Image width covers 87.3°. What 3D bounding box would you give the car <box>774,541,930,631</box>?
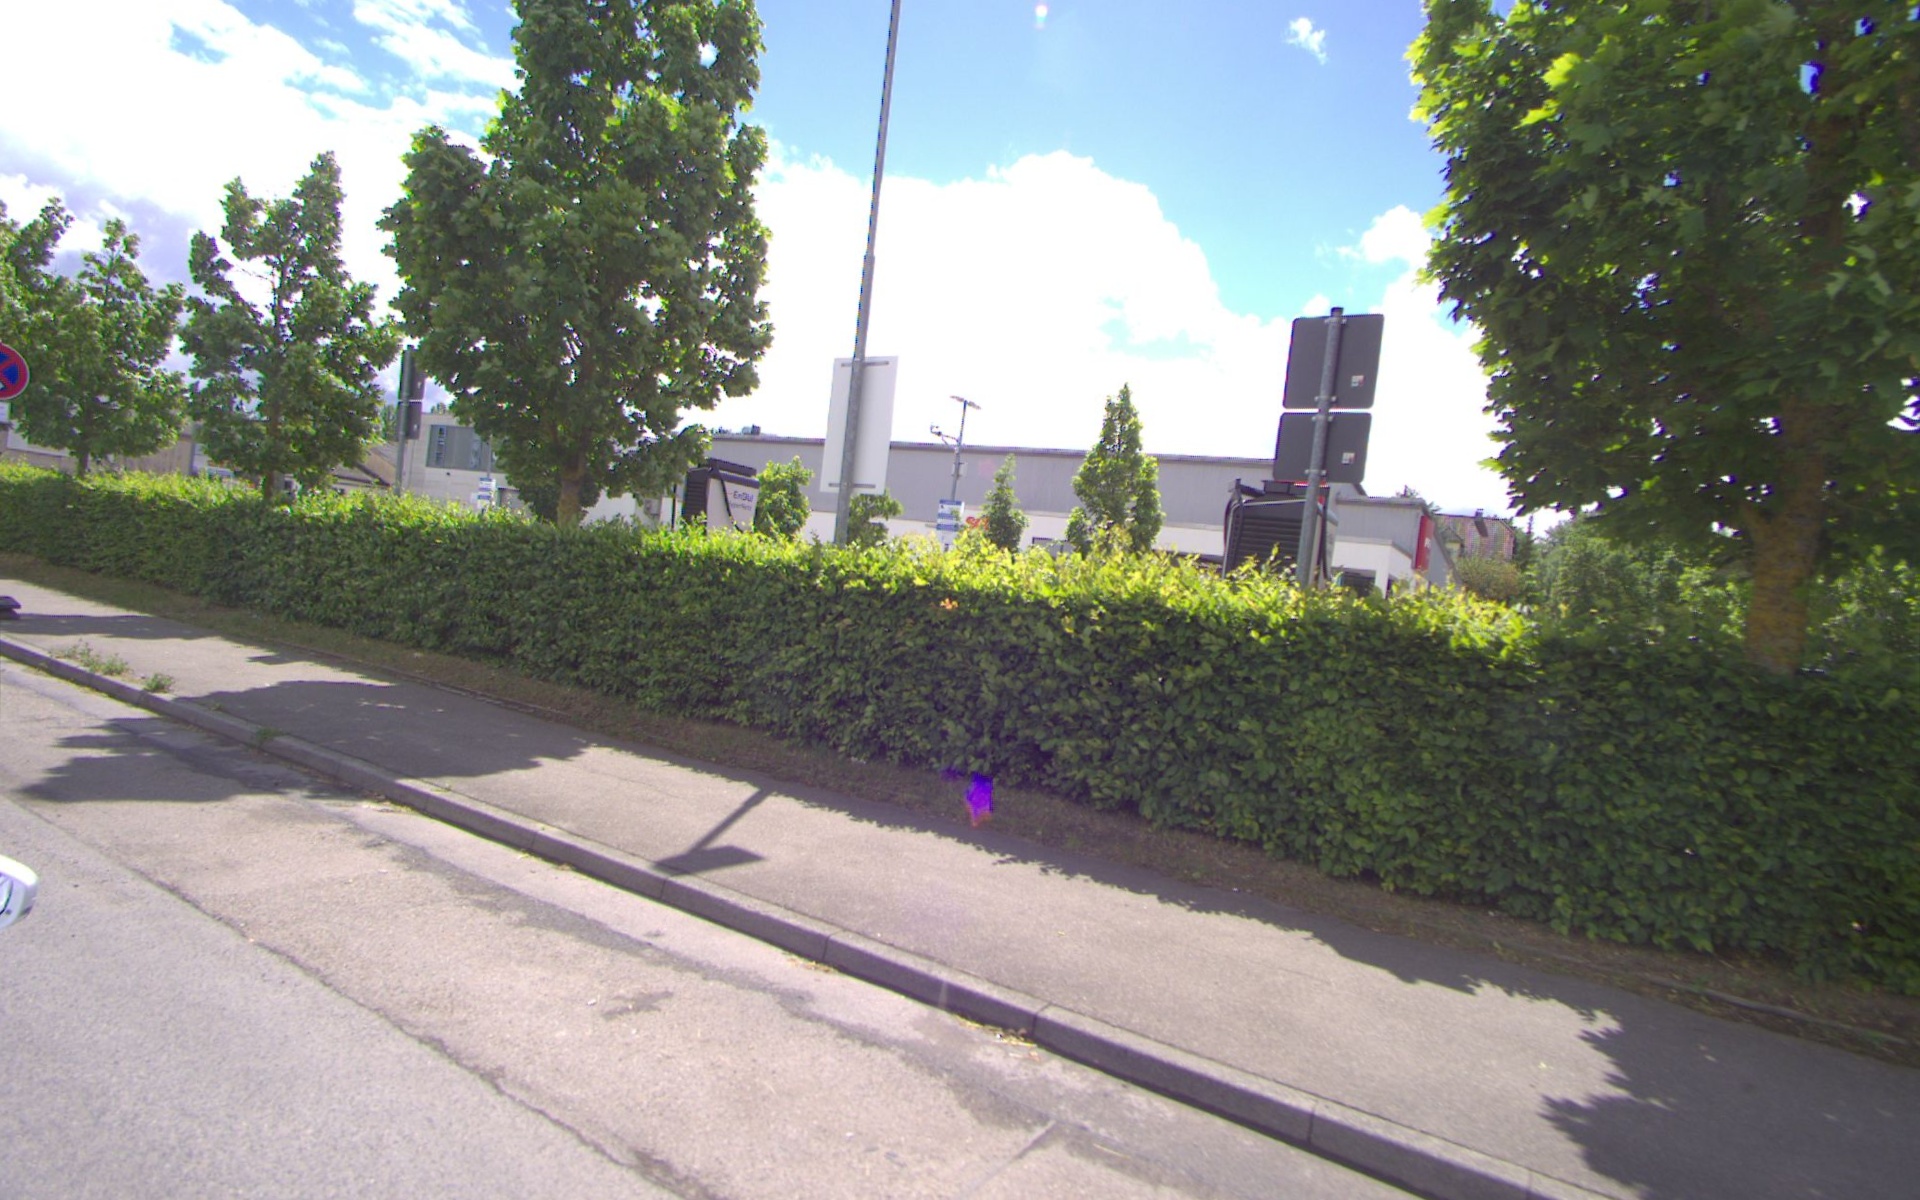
[{"bbox_3d":[-2.767,-0.313,26.653,1.966,1.725,3.998,8,-2,30],"label":"car"}]

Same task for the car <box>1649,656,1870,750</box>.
[{"bbox_3d":[19.360,2.497,24.607,3.936,1.603,1.749,7,-2,34],"label":"car"}]

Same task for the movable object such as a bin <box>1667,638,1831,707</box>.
[{"bbox_3d":[44.498,4.112,57.058,6.585,2.793,3.939,8,-2,32],"label":"movable object such as a bin"}]

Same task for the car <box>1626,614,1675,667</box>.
[{"bbox_3d":[45.794,2.722,66.848,1.901,2.955,5.170,8,-2,30],"label":"car"}]

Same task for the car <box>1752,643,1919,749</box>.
[{"bbox_3d":[17.786,1.935,19.179,3.936,1.603,1.749,7,-2,34],"label":"car"}]

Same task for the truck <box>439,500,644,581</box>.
[{"bbox_3d":[-25.470,-3.494,62.259,2.930,2.897,12.005,8,-2,32],"label":"truck"}]

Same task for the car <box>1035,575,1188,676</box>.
[{"bbox_3d":[3.529,0.644,22.873,1.966,1.725,3.998,8,-2,30],"label":"car"}]
